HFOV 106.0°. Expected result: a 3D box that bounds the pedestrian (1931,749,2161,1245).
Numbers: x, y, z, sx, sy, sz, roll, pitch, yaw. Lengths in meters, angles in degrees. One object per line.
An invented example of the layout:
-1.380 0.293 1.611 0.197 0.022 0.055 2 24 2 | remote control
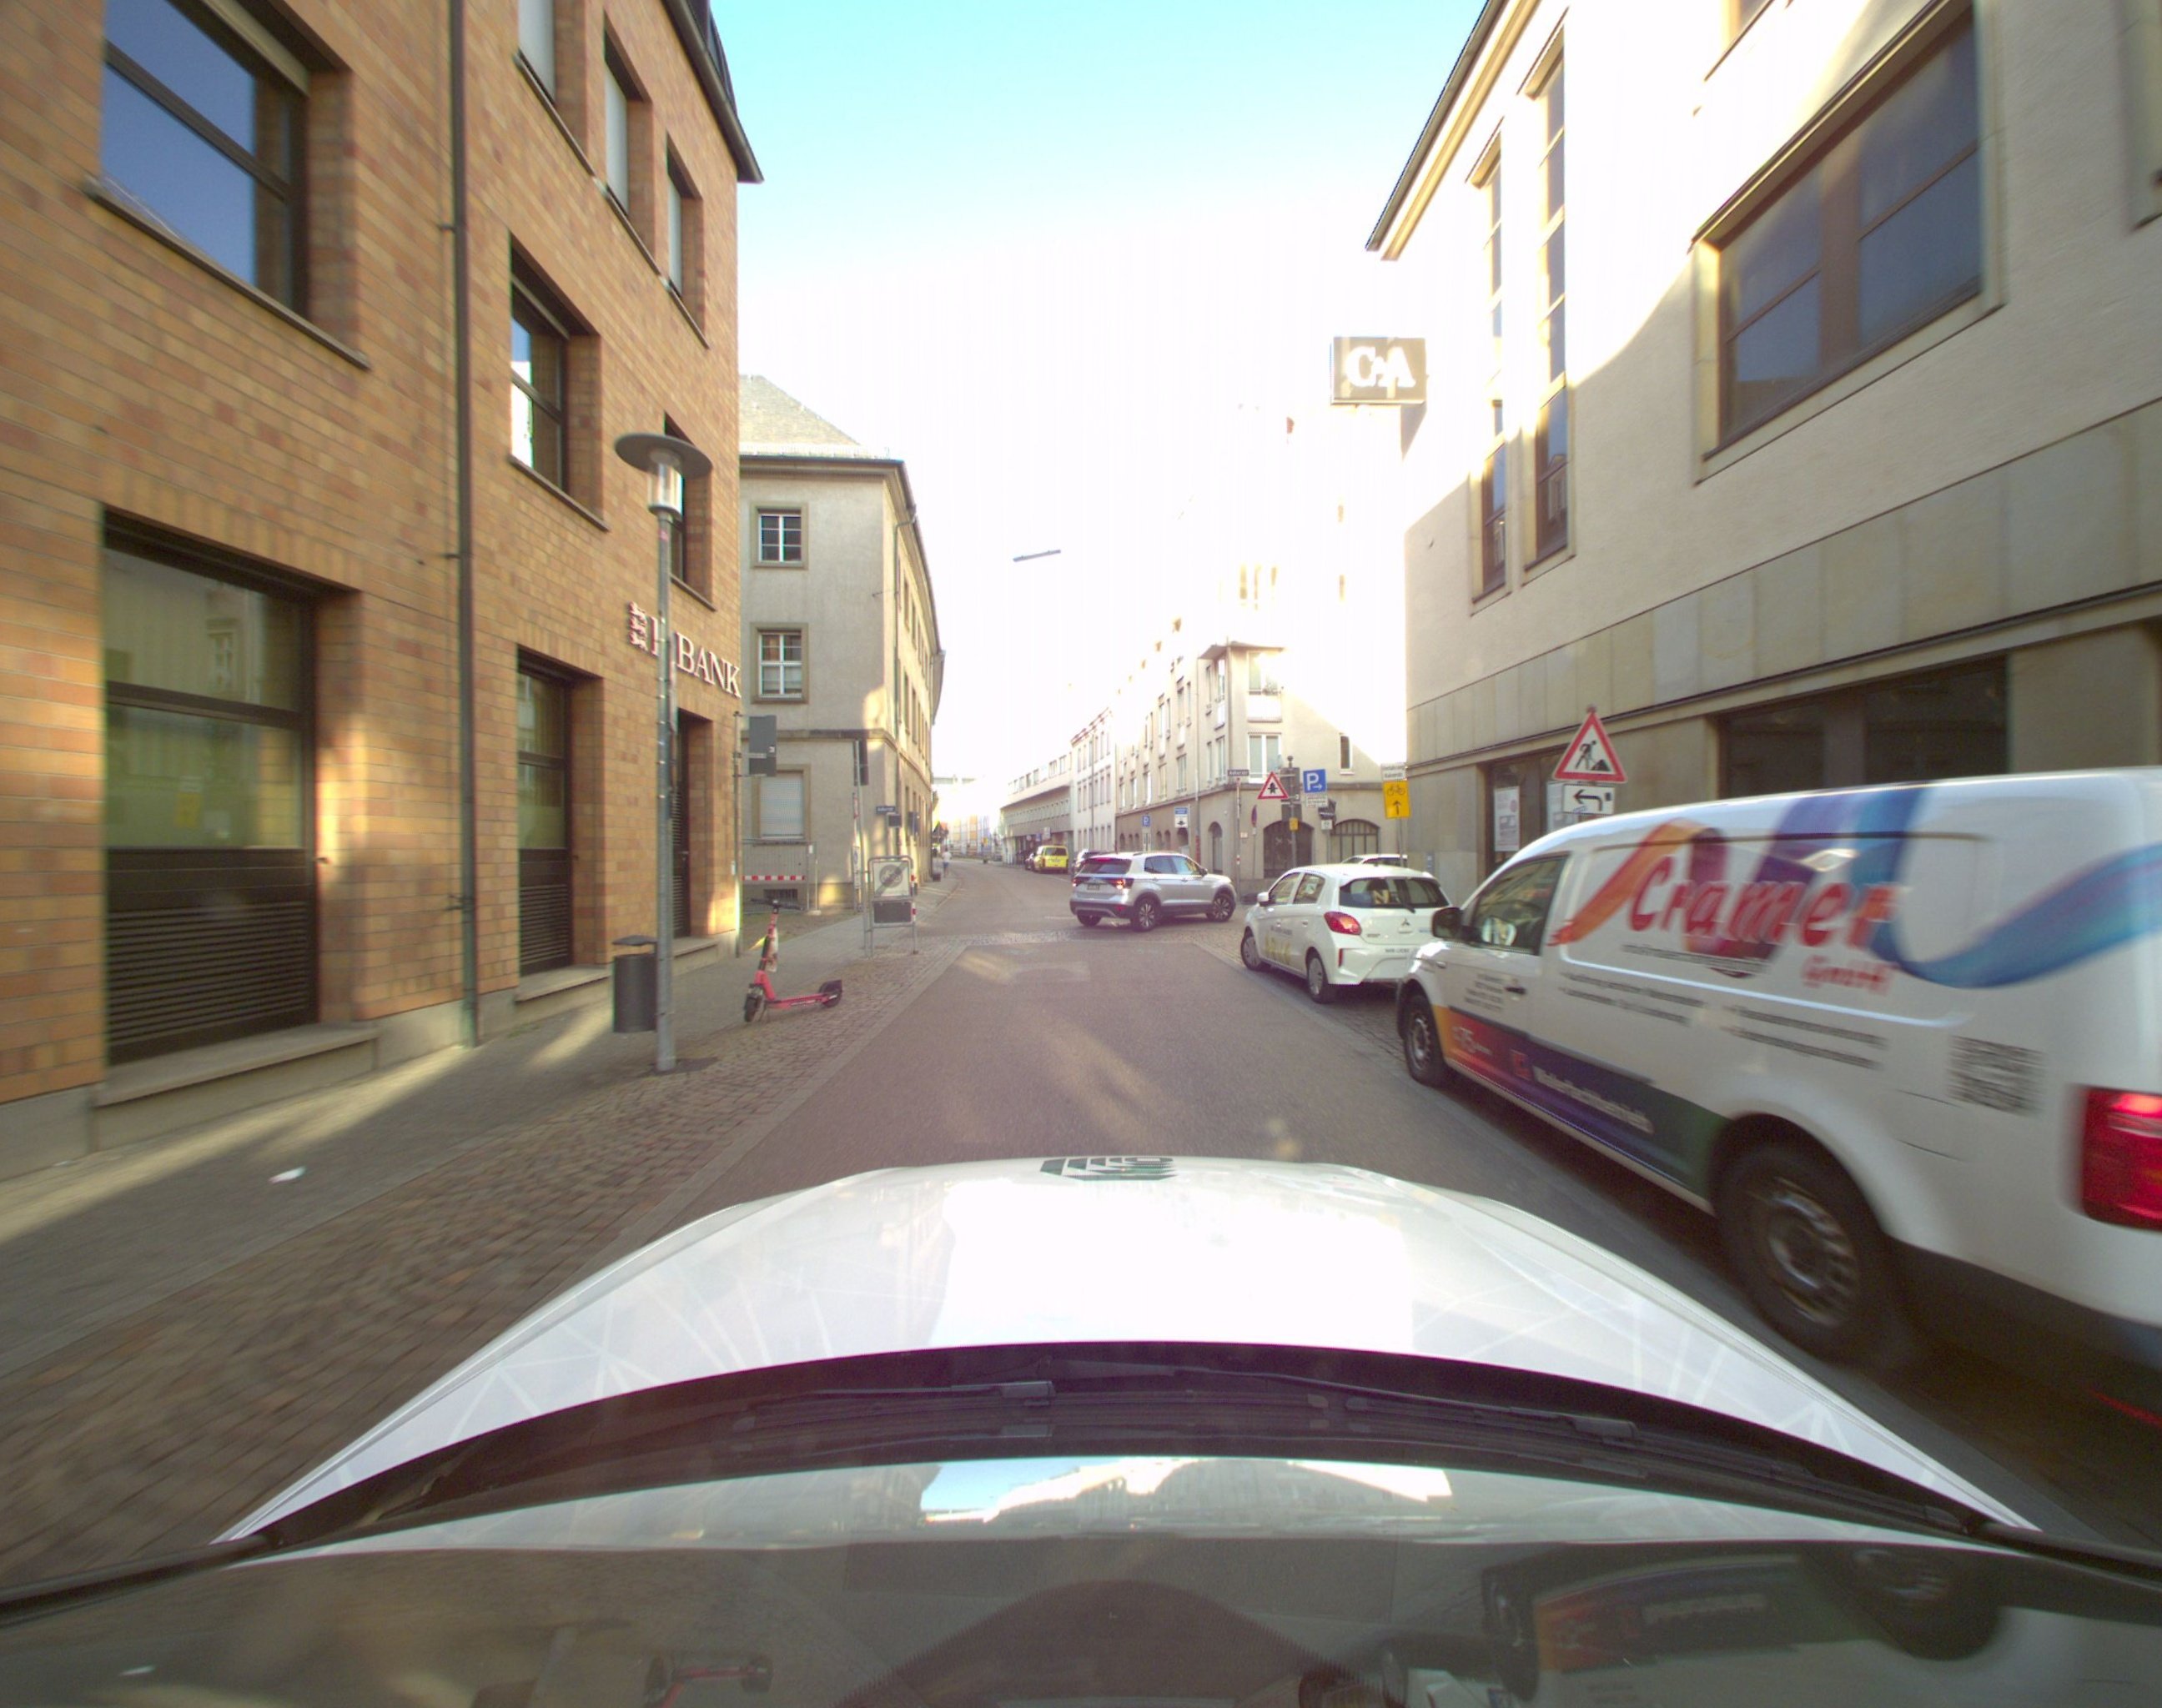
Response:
4.440 0.517 3.155 1.038 1.801 1.199 0 -1 0 | pedestrian

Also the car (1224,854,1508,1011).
3.192 0.778 10.100 1.885 1.518 4.057 0 0 -4 | car

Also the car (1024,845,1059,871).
-3.072 0.292 62.268 2.054 1.873 4.084 0 0 -12 | car

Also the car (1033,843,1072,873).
-2.046 0.245 56.487 2.054 2.013 4.158 0 0 -12 | car

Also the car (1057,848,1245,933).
1.586 0.689 17.493 4.023 1.562 1.820 -1 1 -44 | car

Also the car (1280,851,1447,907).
8.120 0.686 23.662 4.204 1.553 1.901 0 0 -2 | car

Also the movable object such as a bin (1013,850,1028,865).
-6.130 0.351 82.401 1.133 1.479 1.730 0 0 -15 | movable object such as a bin

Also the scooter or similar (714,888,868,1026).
-2.948 0.998 8.399 0.691 1.217 1.365 -1 0 28 | scooter or similar

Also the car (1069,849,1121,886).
0.624 0.602 40.033 1.966 1.692 4.091 1 0 -7 | car

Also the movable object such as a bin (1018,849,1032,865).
-5.565 0.333 80.701 1.133 1.558 1.730 0 0 -15 | movable object such as a bin

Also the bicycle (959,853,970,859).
-20.765 0.311 145.075 1.782 1.000 0.544 0 0 -13 | bicycle

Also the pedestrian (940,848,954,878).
-7.901 0.521 48.012 0.767 1.724 0.684 0 0 -13 | pedestrian

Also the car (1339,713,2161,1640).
3.033 0.625 4.151 1.824 1.791 5.214 1 0 0 | car
